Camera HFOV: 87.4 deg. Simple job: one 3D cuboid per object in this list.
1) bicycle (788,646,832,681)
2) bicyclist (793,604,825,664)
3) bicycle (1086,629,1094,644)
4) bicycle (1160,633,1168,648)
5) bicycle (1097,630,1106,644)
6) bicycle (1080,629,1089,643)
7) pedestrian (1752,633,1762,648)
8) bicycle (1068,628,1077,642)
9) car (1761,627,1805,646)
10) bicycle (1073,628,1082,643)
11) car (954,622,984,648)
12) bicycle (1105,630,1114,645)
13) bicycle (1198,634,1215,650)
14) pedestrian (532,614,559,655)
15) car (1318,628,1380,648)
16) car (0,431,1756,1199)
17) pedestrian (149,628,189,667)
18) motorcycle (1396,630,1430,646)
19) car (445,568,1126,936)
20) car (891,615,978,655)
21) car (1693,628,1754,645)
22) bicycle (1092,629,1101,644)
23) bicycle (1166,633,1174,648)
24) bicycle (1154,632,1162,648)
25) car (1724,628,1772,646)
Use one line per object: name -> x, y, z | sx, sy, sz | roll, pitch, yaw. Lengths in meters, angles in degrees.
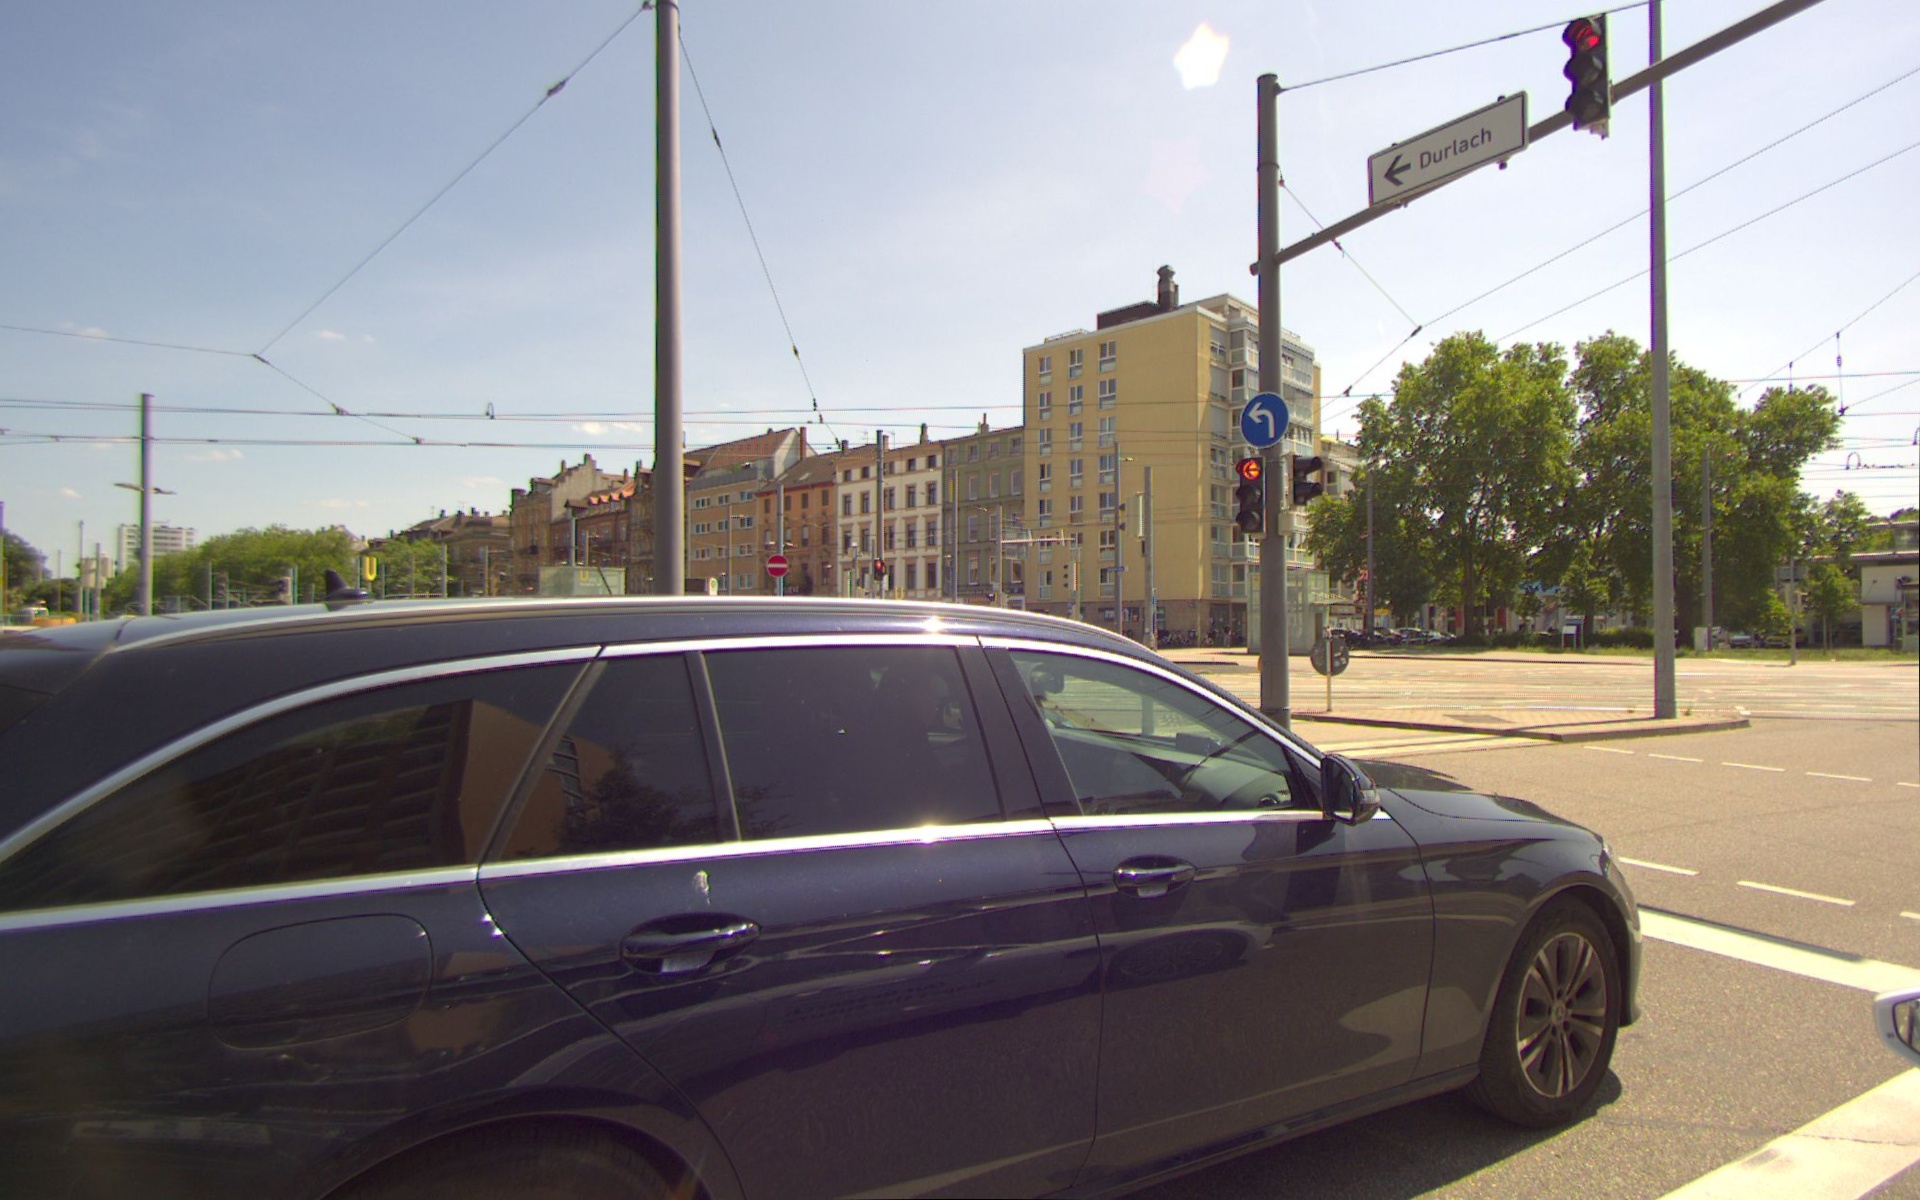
bicycle -> -3.948, 1.651, 26.368 | 0.620, 0.866, 1.887 | 1, -2, -26
bicyclist -> -3.998, 0.884, 26.500 | 0.433, 1.549, 1.245 | 2, 0, -26
bicycle -> 9.483, 2.639, 73.259 | 0.424, 1.040, 1.445 | 0, -1, 16
bicycle -> 13.987, 2.756, 68.820 | 0.424, 1.040, 1.445 | 0, -1, 16
bicycle -> 10.241, 2.659, 72.565 | 0.424, 1.040, 1.445 | 0, -1, 16
bicycle -> 9.122, 2.629, 73.568 | 0.424, 1.040, 1.445 | 0, -1, 16
pedestrian -> 66.068, 3.342, 83.305 | 0.439, 1.220, 0.511 | 1, -1, -24
bicycle -> 8.352, 2.609, 74.344 | 0.424, 1.040, 1.445 | 0, -1, 16
car -> 69.144, 3.060, 84.411 | 4.283, 1.530, 1.756 | 1, -2, -35
bicycle -> 8.694, 2.618, 74.005 | 0.424, 1.040, 1.445 | 0, -1, 16
car -> 0.574, 2.458, 70.522 | 1.803, 1.773, 3.998 | 0, -1, -4
bicycle -> 10.758, 2.674, 72.306 | 0.424, 1.040, 1.445 | 0, -1, 16
bicycle -> 16.770, 2.841, 68.286 | 0.427, 1.040, 1.435 | -1, -2, 44
pedestrian -> -18.631, 1.545, 45.131 | 1.114, 1.837, 0.677 | -1, -2, 38
car -> 29.514, 2.886, 76.287 | 3.941, 1.439, 1.990 | -1, -2, 41
car -> 0.091, 0.663, 2.878 | 4.747, 1.662, 1.789 | 1, 0, -30
pedestrian -> -28.036, 1.682, 35.621 | 0.978, 1.352, 0.527 | 0, -1, 2
motorcycle -> 28.437, 2.358, 63.071 | 1.887, 0.974, 0.524 | -1, -1, 31
car -> -0.995, 0.706, 6.051 | 3.692, 1.597, 1.736 | 1, -2, -30
car -> -1.425, 1.864, 54.003 | 1.987, 2.084, 4.807 | 1, -2, -44
car -> 70.961, 3.369, 93.424 | 4.245, 1.530, 1.771 | -1, -2, 26
bicycle -> 9.925, 2.651, 72.963 | 0.424, 1.040, 1.445 | 0, -1, 16
bicycle -> 14.356, 2.766, 68.555 | 0.424, 1.040, 1.445 | 0, -1, 16
bicycle -> 13.613, 2.746, 69.131 | 0.424, 1.040, 1.445 | 0, -1, 16
car -> 68.301, 3.202, 87.042 | 4.274, 1.530, 1.759 | 1, -2, -29
